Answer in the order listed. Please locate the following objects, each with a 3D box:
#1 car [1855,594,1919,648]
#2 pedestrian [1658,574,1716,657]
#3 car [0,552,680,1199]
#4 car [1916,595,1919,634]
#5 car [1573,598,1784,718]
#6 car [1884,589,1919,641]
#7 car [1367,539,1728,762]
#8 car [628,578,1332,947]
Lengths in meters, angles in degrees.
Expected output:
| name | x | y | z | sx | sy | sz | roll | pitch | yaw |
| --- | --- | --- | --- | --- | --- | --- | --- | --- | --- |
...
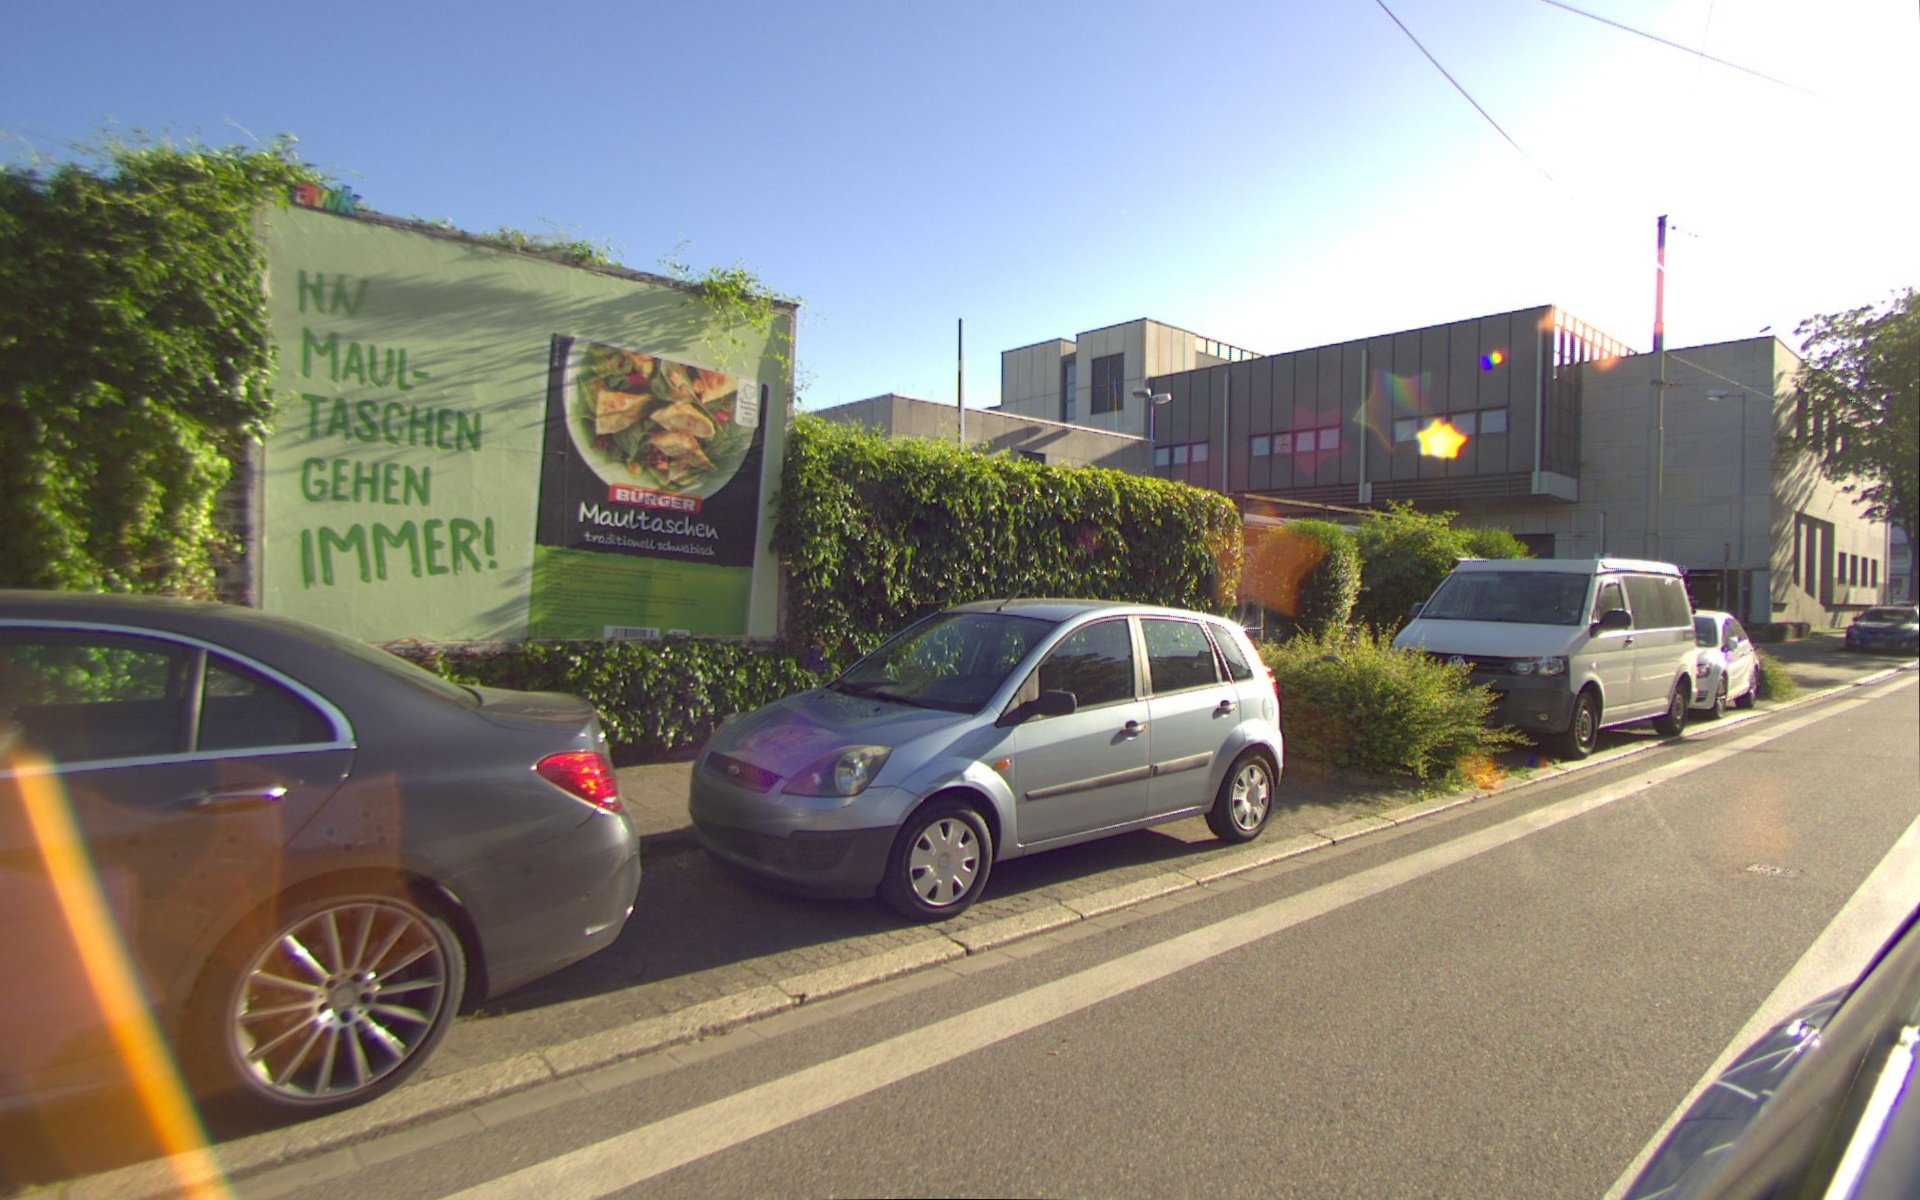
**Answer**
| name | x | y | z | sx | sy | sz | roll | pitch | yaw |
| --- | --- | --- | --- | --- | --- | --- | --- | --- | --- |
| car | 29.566 | 0.613 | 31.683 | 4.578 | 1.499 | 1.706 | 0 | 4 | -41 |
| pedestrian | 16.687 | 0.327 | 23.230 | 1.281 | 1.810 | 0.672 | 0 | 5 | -42 |
| car | -3.244 | 0.640 | 2.649 | 4.520 | 1.503 | 1.828 | 0 | 0 | -40 |
| car | 39.270 | 0.628 | 40.013 | 4.543 | 1.509 | 1.715 | 1 | 1 | -42 |
| car | 10.779 | 0.732 | 15.051 | 4.427 | 1.435 | 1.678 | 0 | 3 | -43 |
| car | 33.524 | 0.498 | 35.241 | 4.207 | 1.733 | 1.743 | 0 | 1 | -44 |
| car | 6.844 | 0.421 | 11.512 | 5.148 | 2.016 | 1.858 | 0 | 1 | -39 |
| car | 0.306 | 0.640 | 6.100 | 4.002 | 1.491 | 1.877 | 0 | 0 | -39 |
